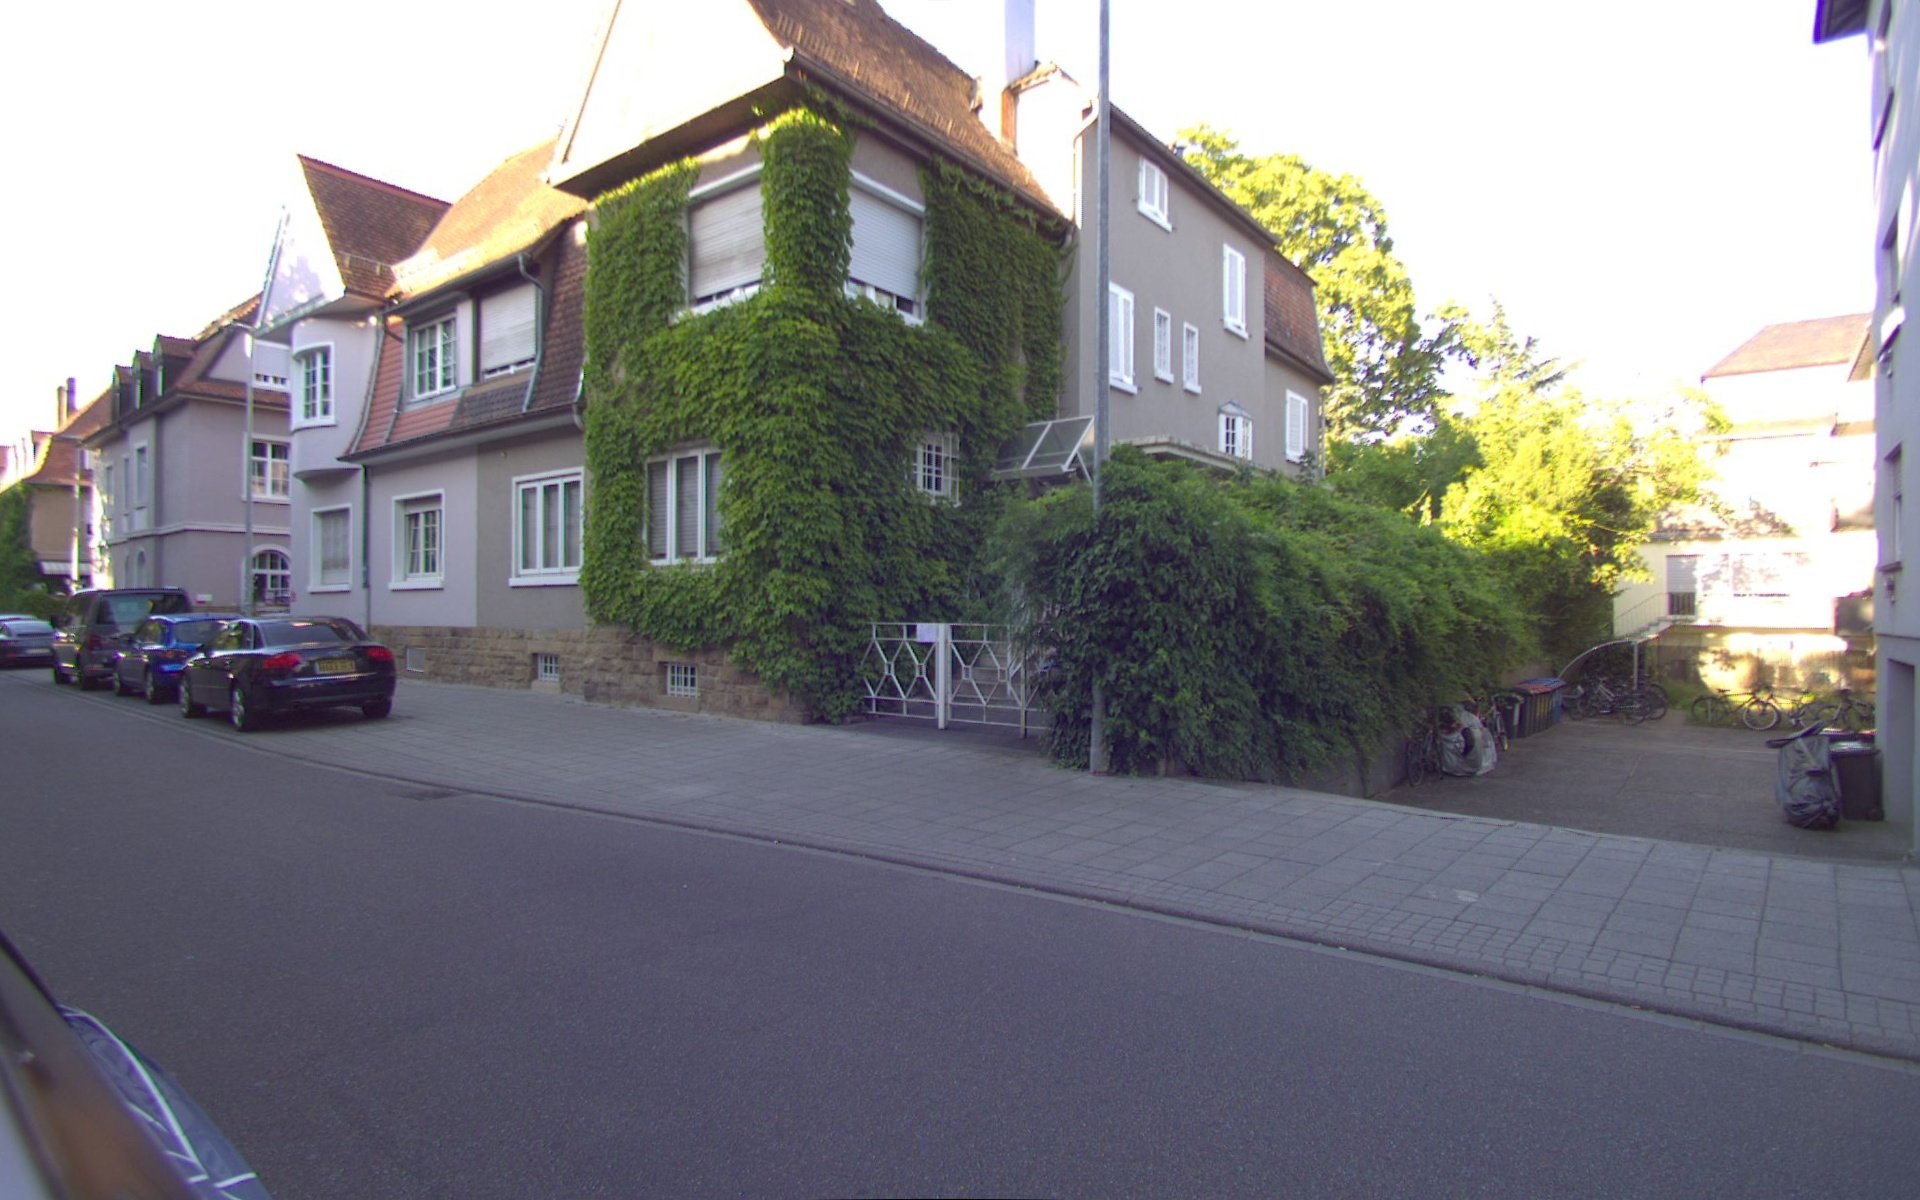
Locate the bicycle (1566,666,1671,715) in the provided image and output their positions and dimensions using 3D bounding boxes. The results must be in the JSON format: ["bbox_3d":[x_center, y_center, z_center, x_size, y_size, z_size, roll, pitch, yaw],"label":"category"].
[{"bbox_3d":[18.050,2.461,27.770,2.338,1.186,0.685,-1,-4,42],"label":"bicycle"}]

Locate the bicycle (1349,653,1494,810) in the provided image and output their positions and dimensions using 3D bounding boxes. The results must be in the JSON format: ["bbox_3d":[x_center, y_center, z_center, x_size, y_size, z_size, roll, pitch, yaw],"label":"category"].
[{"bbox_3d":[6.817,1.768,14.753,0.971,1.907,4.138,-1,-2,38],"label":"bicycle"}]

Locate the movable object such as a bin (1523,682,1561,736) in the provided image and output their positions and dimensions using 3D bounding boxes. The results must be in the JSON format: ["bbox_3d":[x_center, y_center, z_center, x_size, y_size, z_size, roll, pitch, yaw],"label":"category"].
[{"bbox_3d":[12.694,2.358,22.075,0.611,1.123,0.792,-1,-4,37],"label":"movable object such as a bin"}]

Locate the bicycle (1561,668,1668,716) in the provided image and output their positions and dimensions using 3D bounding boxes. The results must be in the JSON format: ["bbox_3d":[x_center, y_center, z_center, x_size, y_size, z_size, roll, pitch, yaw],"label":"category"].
[{"bbox_3d":[17.498,2.451,27.117,2.338,1.142,0.685,-1,-4,42],"label":"bicycle"}]

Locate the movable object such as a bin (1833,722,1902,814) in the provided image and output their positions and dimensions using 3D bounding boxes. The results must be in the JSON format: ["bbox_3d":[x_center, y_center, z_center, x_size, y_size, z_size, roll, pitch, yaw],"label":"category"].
[{"bbox_3d":[12.291,2.258,13.729,0.611,1.123,0.792,-1,-4,37],"label":"movable object such as a bin"}]

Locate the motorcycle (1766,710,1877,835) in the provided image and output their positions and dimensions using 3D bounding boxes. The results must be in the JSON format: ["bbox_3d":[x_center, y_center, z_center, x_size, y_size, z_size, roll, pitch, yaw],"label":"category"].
[{"bbox_3d":[10.700,2.099,12.626,0.742,1.305,1.565,-1,-2,30],"label":"motorcycle"}]

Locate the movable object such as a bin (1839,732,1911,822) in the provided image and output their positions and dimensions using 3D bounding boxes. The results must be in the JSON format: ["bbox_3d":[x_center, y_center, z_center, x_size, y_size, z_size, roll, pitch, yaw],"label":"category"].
[{"bbox_3d":[11.709,2.254,12.967,0.611,1.045,0.532,-1,-4,37],"label":"movable object such as a bin"}]

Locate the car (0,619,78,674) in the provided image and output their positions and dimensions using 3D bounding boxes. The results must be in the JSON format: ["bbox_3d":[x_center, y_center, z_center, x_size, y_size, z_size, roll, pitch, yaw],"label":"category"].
[{"bbox_3d":[-26.168,1.256,28.294,4.063,1.394,1.906,-1,1,44],"label":"car"}]

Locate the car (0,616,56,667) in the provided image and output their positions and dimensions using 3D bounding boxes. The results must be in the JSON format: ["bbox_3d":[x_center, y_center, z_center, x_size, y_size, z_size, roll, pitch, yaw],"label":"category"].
[{"bbox_3d":[-30.182,1.286,32.027,4.061,1.478,1.907,-1,1,42],"label":"car"}]

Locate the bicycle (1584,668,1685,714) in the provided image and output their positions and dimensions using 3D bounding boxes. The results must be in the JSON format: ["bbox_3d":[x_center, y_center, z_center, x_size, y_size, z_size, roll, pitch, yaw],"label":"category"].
[{"bbox_3d":[19.191,2.573,28.831,2.338,1.186,0.685,-1,-4,42],"label":"bicycle"}]

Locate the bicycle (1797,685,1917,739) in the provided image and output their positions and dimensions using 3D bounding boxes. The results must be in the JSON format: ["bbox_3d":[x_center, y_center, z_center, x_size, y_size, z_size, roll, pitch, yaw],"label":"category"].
[{"bbox_3d":[20.362,2.515,23.028,2.005,1.080,0.558,-1,-4,42],"label":"bicycle"}]

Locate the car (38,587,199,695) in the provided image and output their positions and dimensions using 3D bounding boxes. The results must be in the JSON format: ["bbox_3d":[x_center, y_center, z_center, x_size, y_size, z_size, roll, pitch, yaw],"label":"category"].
[{"bbox_3d":[-17.533,0.778,21.013,4.610,1.990,1.819,-1,1,41],"label":"car"}]

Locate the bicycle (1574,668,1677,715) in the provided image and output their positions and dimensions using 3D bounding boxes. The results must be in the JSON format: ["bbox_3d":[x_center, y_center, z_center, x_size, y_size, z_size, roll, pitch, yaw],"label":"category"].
[{"bbox_3d":[18.608,2.536,28.336,2.338,1.186,0.685,-1,-4,42],"label":"bicycle"}]

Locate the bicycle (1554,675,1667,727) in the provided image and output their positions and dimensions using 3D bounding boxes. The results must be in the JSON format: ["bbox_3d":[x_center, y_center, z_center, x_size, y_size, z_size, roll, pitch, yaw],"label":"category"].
[{"bbox_3d":[16.232,2.498,25.304,2.294,1.142,0.685,-1,-4,42],"label":"bicycle"}]

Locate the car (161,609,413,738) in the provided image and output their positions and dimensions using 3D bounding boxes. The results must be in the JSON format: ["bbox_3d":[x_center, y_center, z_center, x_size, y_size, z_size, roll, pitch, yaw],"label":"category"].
[{"bbox_3d":[-9.424,0.902,14.036,4.426,1.457,1.783,-1,1,41],"label":"car"}]

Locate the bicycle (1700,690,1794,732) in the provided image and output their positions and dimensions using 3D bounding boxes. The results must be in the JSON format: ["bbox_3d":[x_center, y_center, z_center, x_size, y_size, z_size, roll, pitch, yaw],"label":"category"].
[{"bbox_3d":[18.885,2.640,24.302,1.754,0.886,0.558,-1,-4,42],"label":"bicycle"}]

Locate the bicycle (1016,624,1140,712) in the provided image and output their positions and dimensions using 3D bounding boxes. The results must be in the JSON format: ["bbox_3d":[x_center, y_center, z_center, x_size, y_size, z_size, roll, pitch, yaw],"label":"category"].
[{"bbox_3d":[1.694,0.911,14.185,0.476,1.111,2.172,-1,-1,45],"label":"bicycle"}]

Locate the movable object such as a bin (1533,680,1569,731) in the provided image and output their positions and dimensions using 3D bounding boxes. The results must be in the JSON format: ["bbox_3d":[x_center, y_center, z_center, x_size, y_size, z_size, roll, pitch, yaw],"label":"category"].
[{"bbox_3d":[13.641,2.425,23.349,0.611,1.123,0.792,-1,-4,37],"label":"movable object such as a bin"}]

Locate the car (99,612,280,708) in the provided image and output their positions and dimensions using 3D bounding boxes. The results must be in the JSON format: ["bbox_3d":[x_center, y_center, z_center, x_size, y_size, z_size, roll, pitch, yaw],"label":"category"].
[{"bbox_3d":[-13.645,0.972,17.843,4.060,1.457,1.745,-1,1,41],"label":"car"}]

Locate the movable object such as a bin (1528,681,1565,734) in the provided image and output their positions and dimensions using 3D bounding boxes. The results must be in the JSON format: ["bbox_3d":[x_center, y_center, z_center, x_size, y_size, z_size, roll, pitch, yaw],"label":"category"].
[{"bbox_3d":[13.170,2.393,22.717,0.611,1.123,0.792,-1,-4,37],"label":"movable object such as a bin"}]

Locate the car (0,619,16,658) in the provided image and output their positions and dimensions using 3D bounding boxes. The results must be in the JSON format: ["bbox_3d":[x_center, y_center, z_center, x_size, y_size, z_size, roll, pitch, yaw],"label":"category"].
[{"bbox_3d":[-36.334,1.429,37.504,3.676,1.372,1.641,-1,1,42],"label":"car"}]
